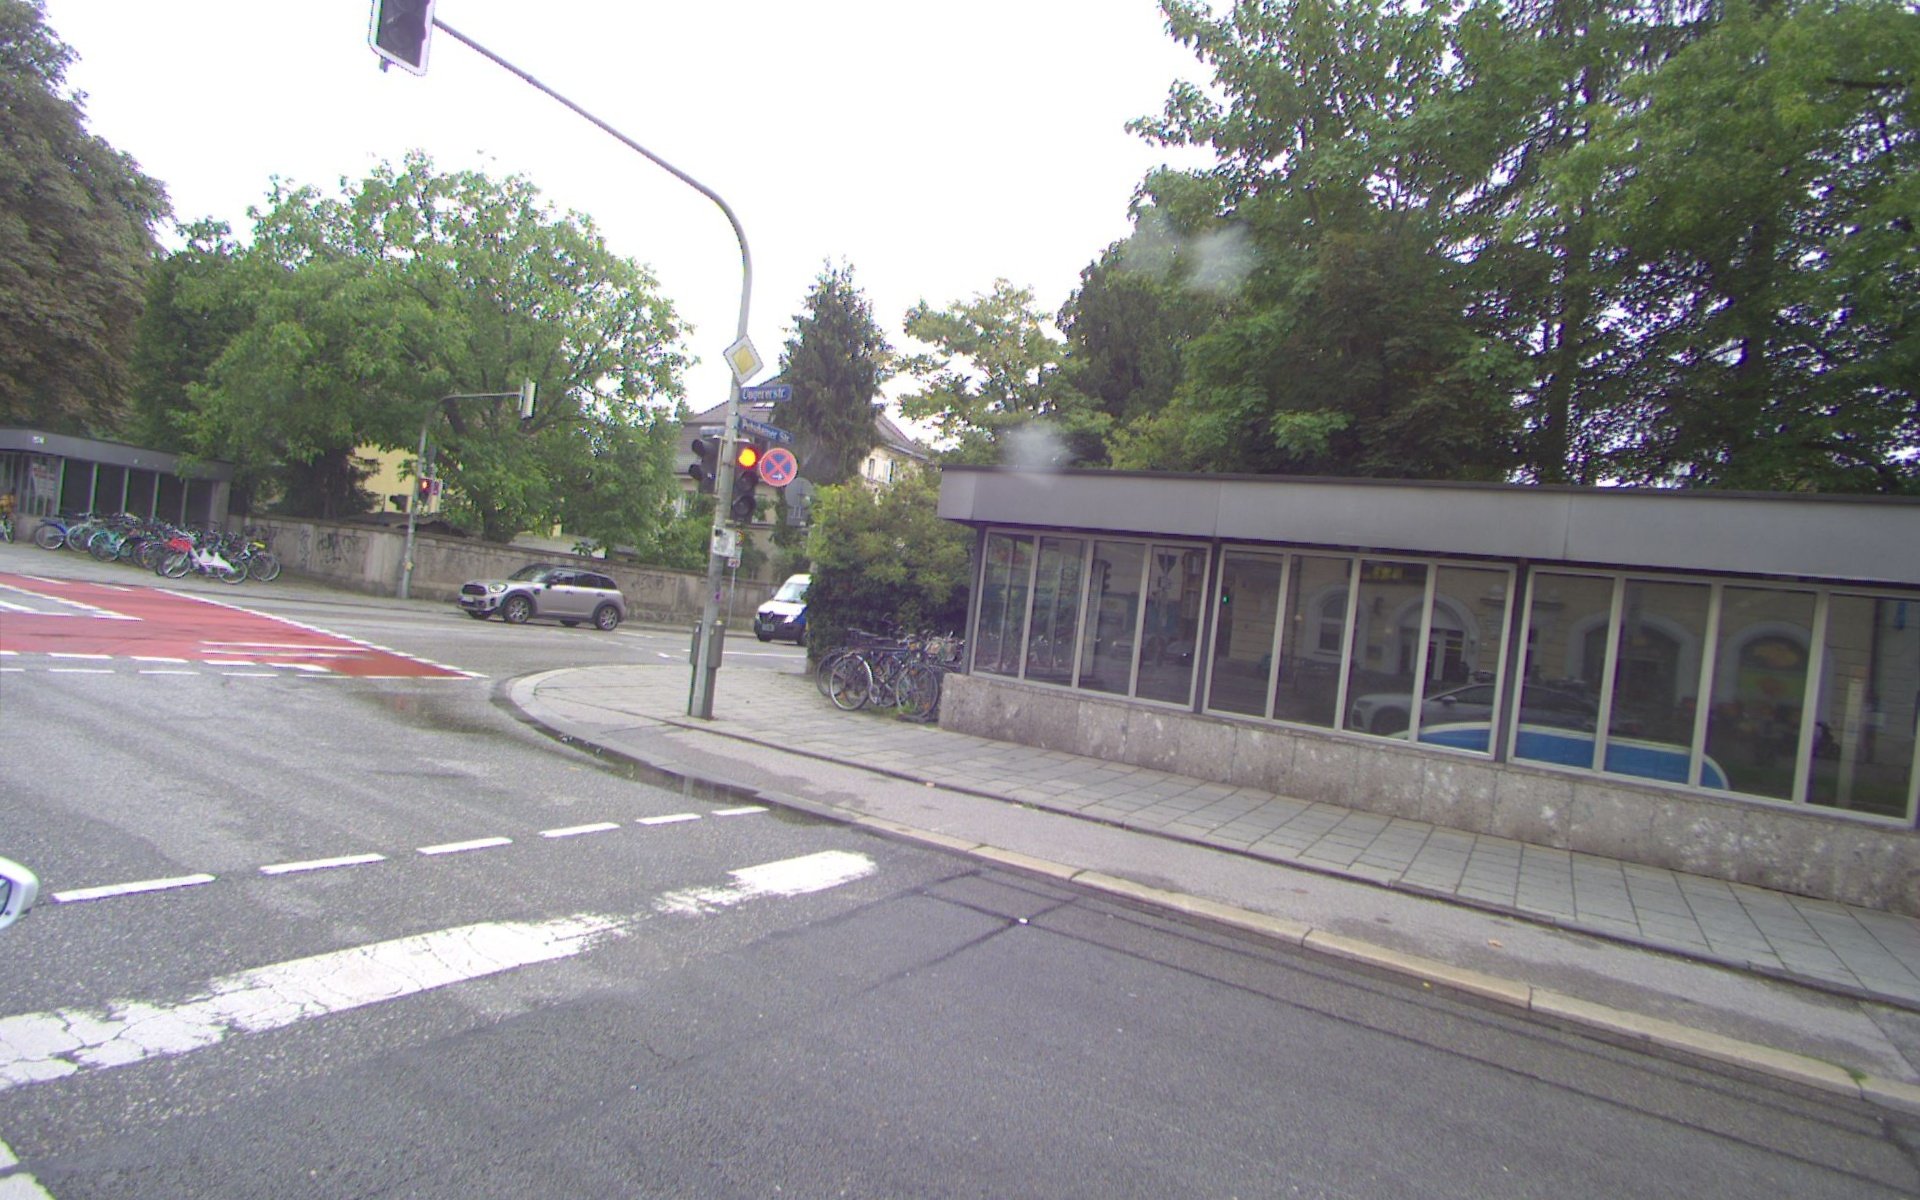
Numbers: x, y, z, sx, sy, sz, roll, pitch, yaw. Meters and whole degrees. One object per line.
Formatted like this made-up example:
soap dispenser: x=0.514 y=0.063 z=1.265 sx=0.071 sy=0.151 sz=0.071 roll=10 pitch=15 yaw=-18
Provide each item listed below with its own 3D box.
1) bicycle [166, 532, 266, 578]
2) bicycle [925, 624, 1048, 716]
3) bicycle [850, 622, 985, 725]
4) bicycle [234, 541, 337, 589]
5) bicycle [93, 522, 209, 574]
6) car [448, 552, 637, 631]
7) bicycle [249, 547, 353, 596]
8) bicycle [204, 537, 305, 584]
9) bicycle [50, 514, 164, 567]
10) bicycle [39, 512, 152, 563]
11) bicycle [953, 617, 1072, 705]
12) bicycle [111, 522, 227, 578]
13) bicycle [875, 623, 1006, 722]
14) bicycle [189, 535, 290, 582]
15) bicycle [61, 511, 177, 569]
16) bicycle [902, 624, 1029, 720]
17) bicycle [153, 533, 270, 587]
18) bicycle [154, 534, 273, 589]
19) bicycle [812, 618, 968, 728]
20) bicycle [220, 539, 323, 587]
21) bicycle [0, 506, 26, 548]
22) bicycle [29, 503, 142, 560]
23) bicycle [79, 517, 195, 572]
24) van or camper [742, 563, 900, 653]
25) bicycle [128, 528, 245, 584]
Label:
bicycle: x=-21.426 y=-1.286 z=29.012 sx=0.625 sy=1.026 sz=2.141 roll=7 pitch=-1 yaw=39
bicycle: x=0.369 y=1.012 z=14.819 sx=1.707 sy=1.135 sz=0.469 roll=6 pitch=0 yaw=32
bicycle: x=-0.576 y=0.946 z=13.258 sx=1.707 sy=1.135 sz=0.469 roll=6 pitch=0 yaw=32
bicycle: x=-18.118 y=-0.925 z=27.050 sx=0.625 sy=1.026 sz=2.141 roll=7 pitch=-1 yaw=39
bicycle: x=-20.361 y=-1.293 z=25.353 sx=0.594 sy=1.026 sz=2.141 roll=7 pitch=-1 yaw=39
car: x=-10.663 y=-0.178 z=25.993 sx=1.668 sy=1.532 sz=4.171 roll=7 pitch=-1 yaw=34
bicycle: x=-17.440 y=-0.746 z=26.684 sx=0.625 sy=1.026 sz=2.141 roll=7 pitch=-1 yaw=39
bicycle: x=-19.457 y=-1.074 z=27.789 sx=0.625 sy=1.026 sz=2.141 roll=7 pitch=-1 yaw=39
bicycle: x=-22.267 y=-1.539 z=26.298 sx=0.594 sy=1.075 sz=2.141 roll=7 pitch=0 yaw=39
bicycle: x=-22.982 y=-1.649 z=26.776 sx=0.594 sy=1.026 sz=2.141 roll=7 pitch=-1 yaw=39
bicycle: x=0.786 y=0.923 z=15.466 sx=1.707 sy=1.135 sz=0.469 roll=6 pitch=0 yaw=32
bicycle: x=-19.697 y=-1.229 z=25.096 sx=0.594 sy=1.114 sz=2.141 roll=7 pitch=0 yaw=39
bicycle: x=-0.280 y=0.977 z=13.756 sx=1.707 sy=1.135 sz=0.469 roll=6 pitch=0 yaw=32
bicycle: x=-20.138 y=-1.152 z=28.148 sx=0.625 sy=1.026 sz=2.141 roll=7 pitch=-1 yaw=39
bicycle: x=-21.660 y=-1.531 z=25.962 sx=0.594 sy=1.192 sz=2.141 roll=7 pitch=0 yaw=39
bicycle: x=0.059 y=1.009 z=14.305 sx=1.707 sy=1.135 sz=0.469 roll=6 pitch=0 yaw=32
bicycle: x=-18.309 y=-0.956 z=24.652 sx=0.625 sy=1.026 sz=2.141 roll=7 pitch=-1 yaw=39
bicycle: x=-17.894 y=-0.901 z=24.160 sx=0.594 sy=1.026 sz=2.141 roll=7 pitch=-1 yaw=39
bicycle: x=-0.899 y=0.899 z=12.688 sx=1.858 sy=1.135 sz=0.600 roll=6 pitch=0 yaw=32
bicycle: x=-18.754 y=-0.992 z=27.450 sx=0.625 sy=1.026 sz=2.141 roll=7 pitch=-1 yaw=39
bicycle: x=-26.284 y=-2.046 z=27.431 sx=1.981 sy=1.027 sz=0.557 roll=7 pitch=0 yaw=30
bicycle: x=-23.567 y=-1.829 z=27.146 sx=0.594 sy=1.233 sz=2.141 roll=7 pitch=0 yaw=39
bicycle: x=-20.984 y=-1.401 z=25.695 sx=0.594 sy=1.099 sz=2.141 roll=7 pitch=0 yaw=39
van or camper: x=-4.658 y=0.344 z=34.778 sx=2.033 sy=2.499 sz=5.558 roll=7 pitch=-1 yaw=33
bicycle: x=-19.091 y=-1.076 z=24.877 sx=0.594 sy=1.084 sz=2.141 roll=7 pitch=0 yaw=39
